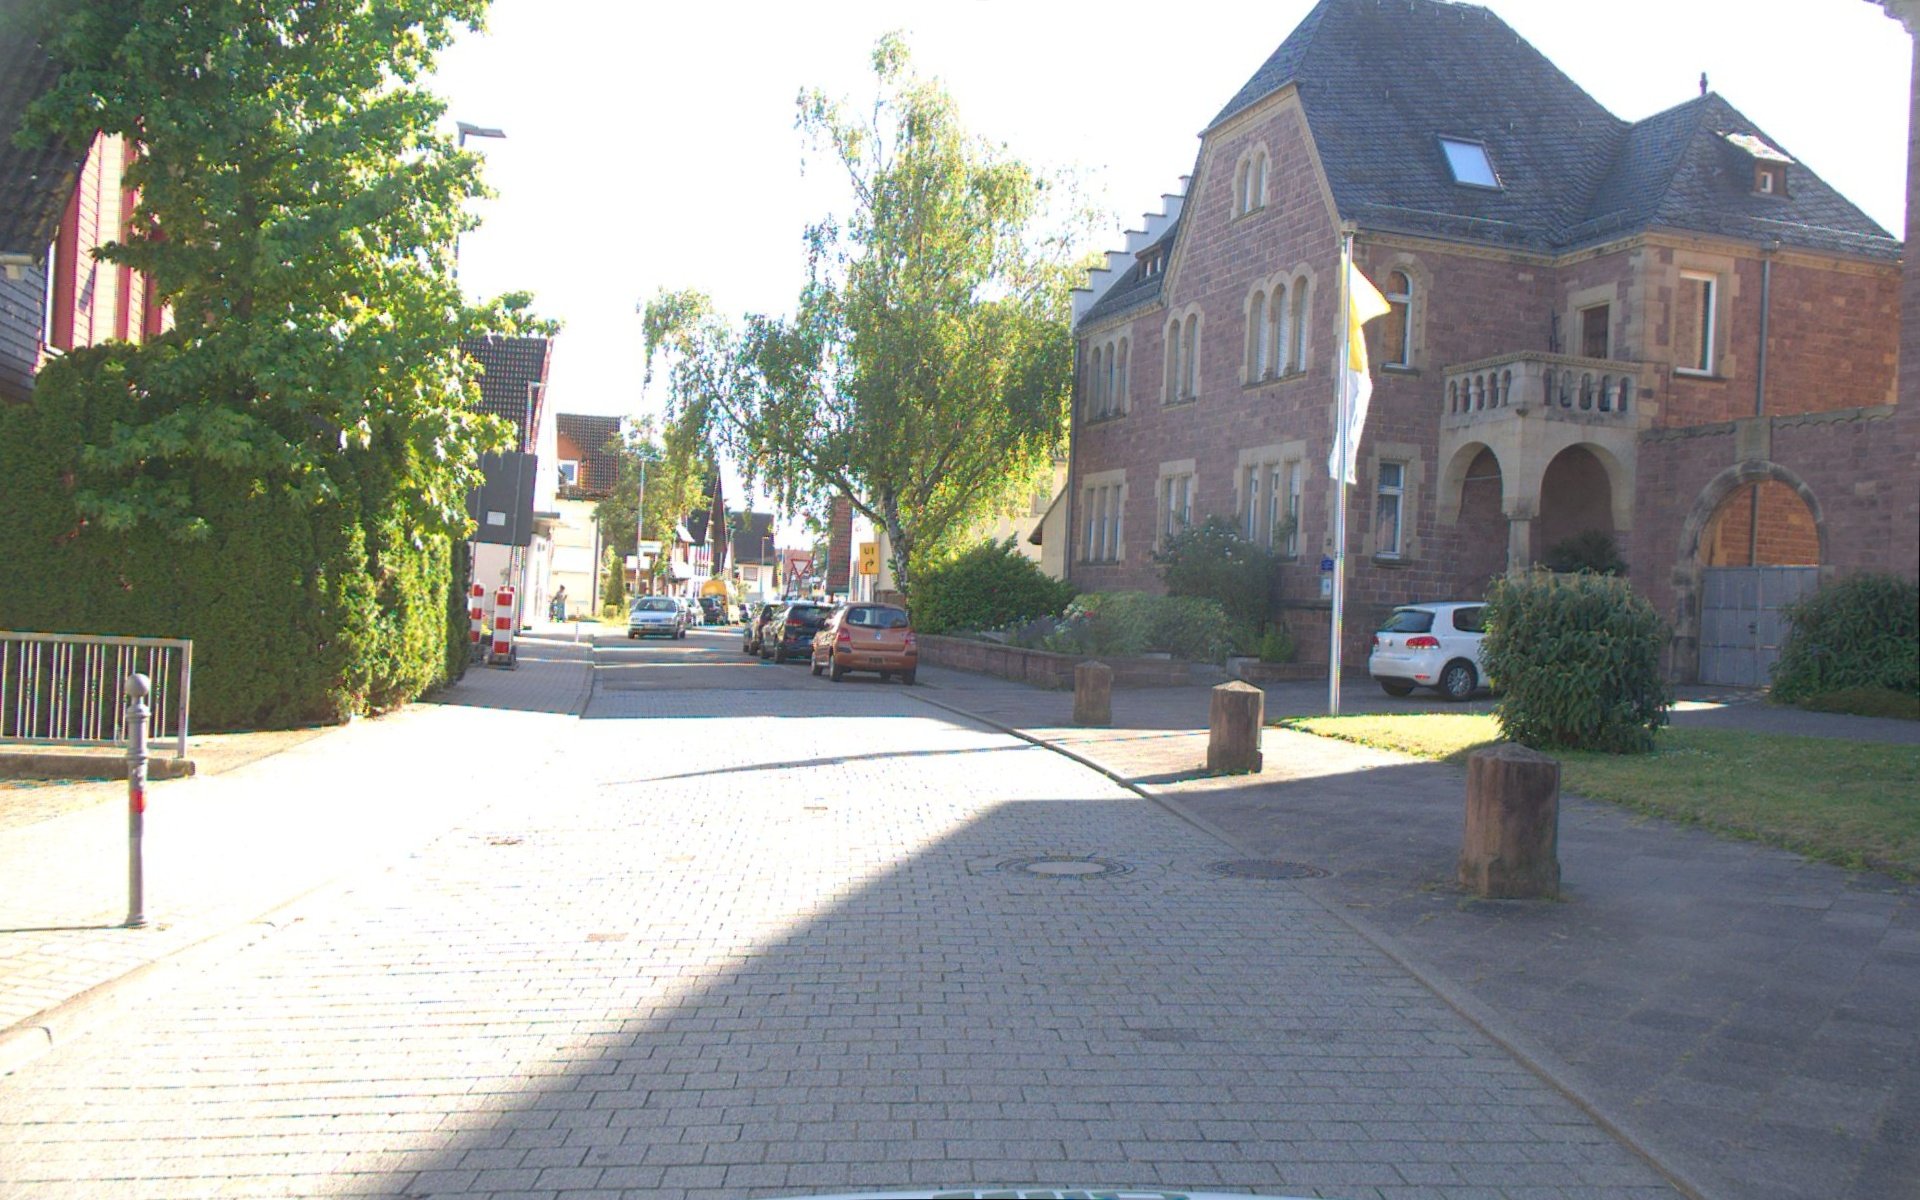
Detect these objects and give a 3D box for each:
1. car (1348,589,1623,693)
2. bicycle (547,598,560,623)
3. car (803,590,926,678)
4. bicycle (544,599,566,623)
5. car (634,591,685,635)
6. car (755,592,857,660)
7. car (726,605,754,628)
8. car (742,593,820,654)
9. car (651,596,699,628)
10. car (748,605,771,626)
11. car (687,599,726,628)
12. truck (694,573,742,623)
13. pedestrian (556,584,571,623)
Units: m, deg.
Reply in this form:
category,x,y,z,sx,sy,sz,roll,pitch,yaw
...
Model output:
category,x,y,z,sx,sy,sz,roll,pitch,yaw
car,8.365,0.625,26.394,3.840,1.522,1.893,-1,-1,-20
bicycle,-18.158,0.485,73.886,0.415,1.071,1.378,3,-2,-10
car,-1.902,0.613,31.961,1.620,1.504,3.919,3,0,-14
bicycle,-18.904,0.528,77.212,0.566,1.071,2.034,2,-2,-3
car,-10.527,0.431,57.776,1.641,1.427,3.881,2,0,-12
car,-3.799,0.601,40.175,1.777,1.461,4.270,3,0,-14
car,-15.224,1.145,114.578,1.613,1.458,3.611,3,-1,-4
car,-4.889,0.603,44.764,1.775,1.461,4.275,3,0,-10
car,-14.914,0.656,86.649,1.830,1.532,4.106,3,-1,-2
car,-15.509,1.195,127.850,1.557,1.468,3.611,3,-1,-4
car,-15.300,0.838,99.965,1.770,1.650,3.879,3,-1,-2
truck,-15.415,-0.087,105.570,2.222,2.919,5.780,3,-1,-2
pedestrian,-17.766,0.154,74.129,0.474,1.722,0.556,3,-3,-7
